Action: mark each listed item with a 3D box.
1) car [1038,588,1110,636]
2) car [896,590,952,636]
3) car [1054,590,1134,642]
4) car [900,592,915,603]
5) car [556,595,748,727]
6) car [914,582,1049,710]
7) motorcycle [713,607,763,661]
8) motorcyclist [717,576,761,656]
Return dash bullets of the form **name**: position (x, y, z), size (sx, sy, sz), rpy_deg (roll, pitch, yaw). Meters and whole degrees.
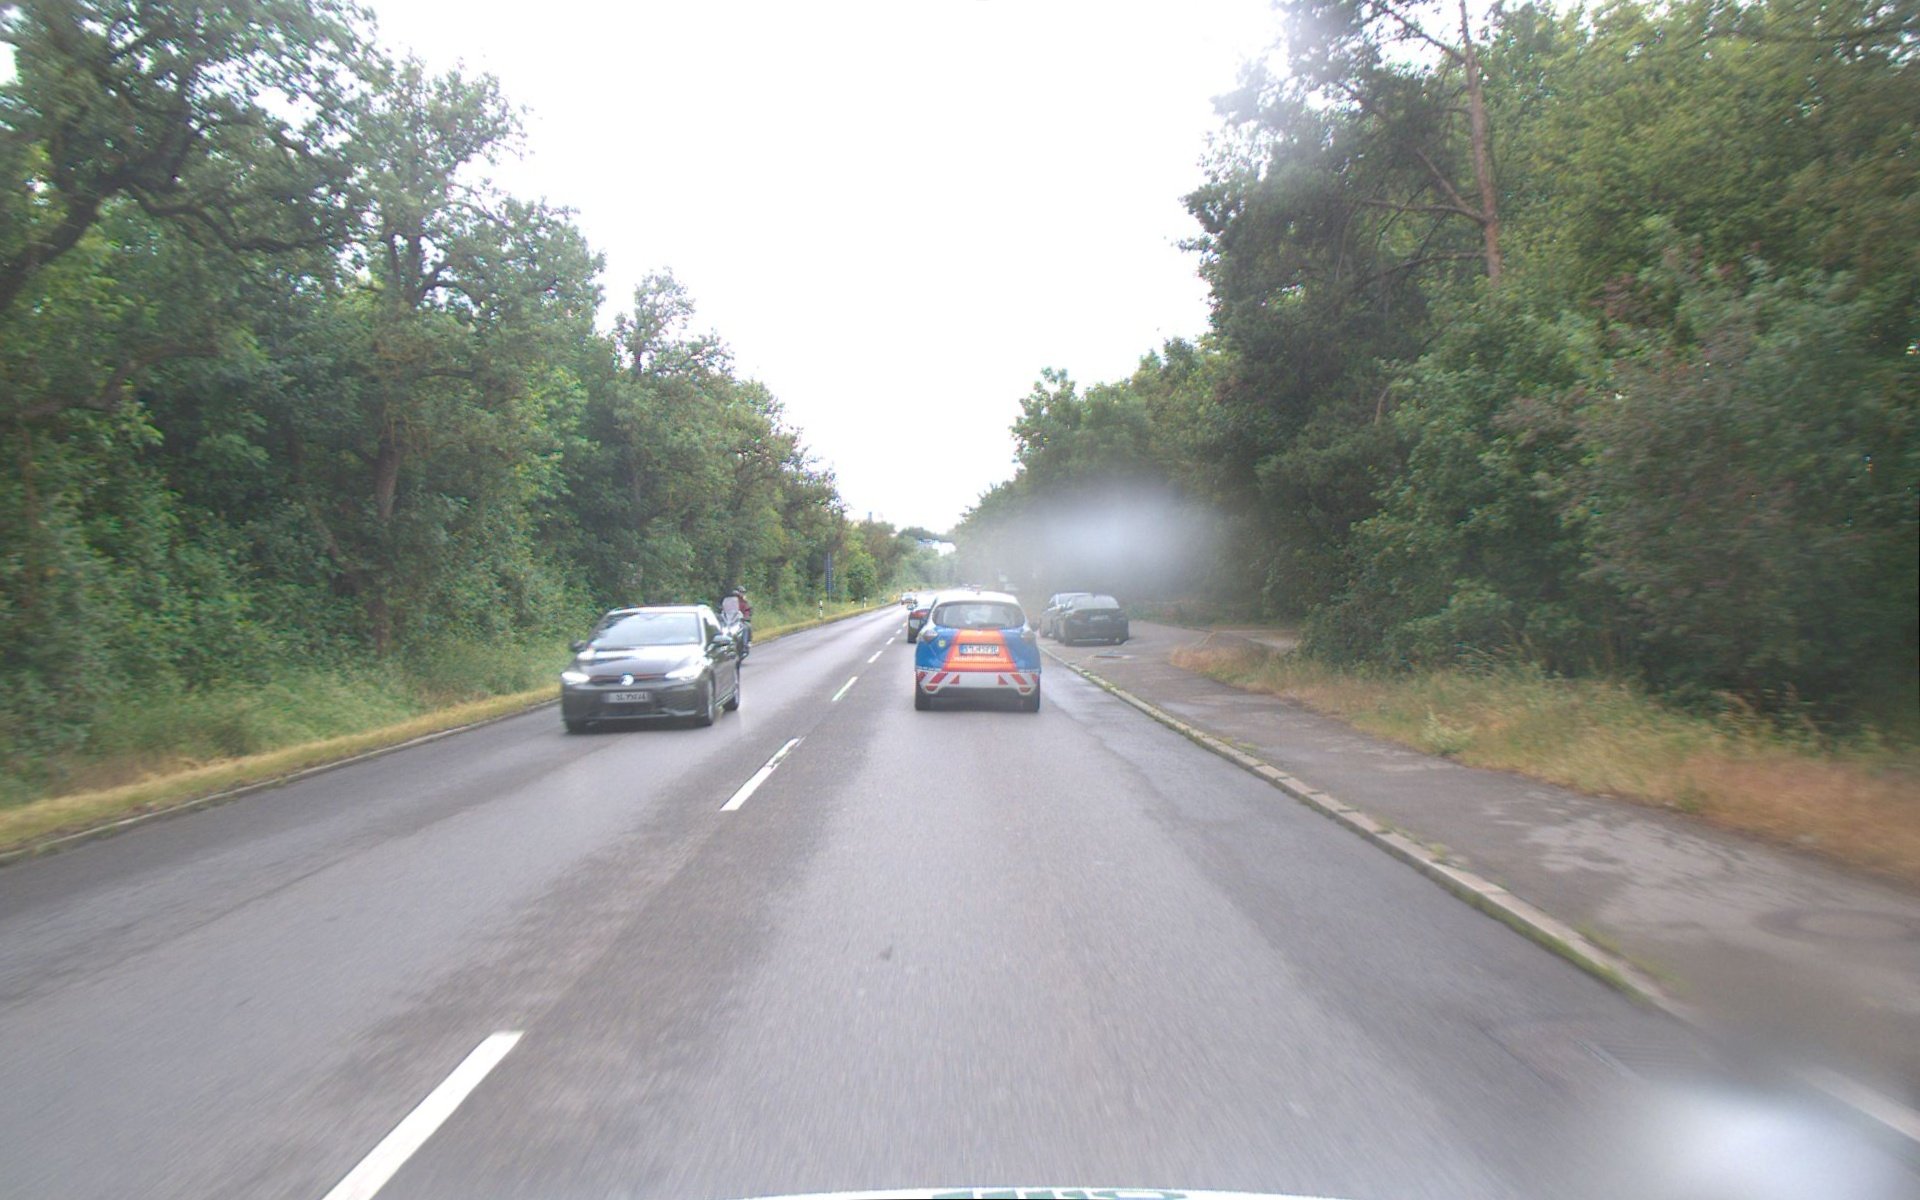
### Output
- **car**: position (3.644, 0.361, 53.479), size (1.953, 1.466, 4.066), rpy_deg (0, 0, -2)
- **car**: position (-1.048, 0.363, 49.295), size (1.566, 1.309, 3.476), rpy_deg (-1, 0, 0)
- **car**: position (3.811, 0.443, 47.636), size (1.953, 1.400, 4.000), rpy_deg (-1, 0, 0)
- **car**: position (-6.472, -0.316, 202.569), size (1.846, 1.411, 3.998), rpy_deg (0, 0, -2)
- **car**: position (-3.768, 0.690, 20.869), size (1.676, 1.423, 4.149), rpy_deg (-2, 0, -1)
- **car**: position (0.249, 0.568, 23.076), size (1.716, 1.582, 3.792), rpy_deg (1, 1, -1)
- **motorcycle**: position (-4.957, 0.734, 37.001), size (0.851, 1.145, 2.394), rpy_deg (0, 0, -2)
- **motorcyclist**: position (-4.957, 0.356, 37.116), size (0.851, 1.753, 1.035), rpy_deg (0, 0, -2)
